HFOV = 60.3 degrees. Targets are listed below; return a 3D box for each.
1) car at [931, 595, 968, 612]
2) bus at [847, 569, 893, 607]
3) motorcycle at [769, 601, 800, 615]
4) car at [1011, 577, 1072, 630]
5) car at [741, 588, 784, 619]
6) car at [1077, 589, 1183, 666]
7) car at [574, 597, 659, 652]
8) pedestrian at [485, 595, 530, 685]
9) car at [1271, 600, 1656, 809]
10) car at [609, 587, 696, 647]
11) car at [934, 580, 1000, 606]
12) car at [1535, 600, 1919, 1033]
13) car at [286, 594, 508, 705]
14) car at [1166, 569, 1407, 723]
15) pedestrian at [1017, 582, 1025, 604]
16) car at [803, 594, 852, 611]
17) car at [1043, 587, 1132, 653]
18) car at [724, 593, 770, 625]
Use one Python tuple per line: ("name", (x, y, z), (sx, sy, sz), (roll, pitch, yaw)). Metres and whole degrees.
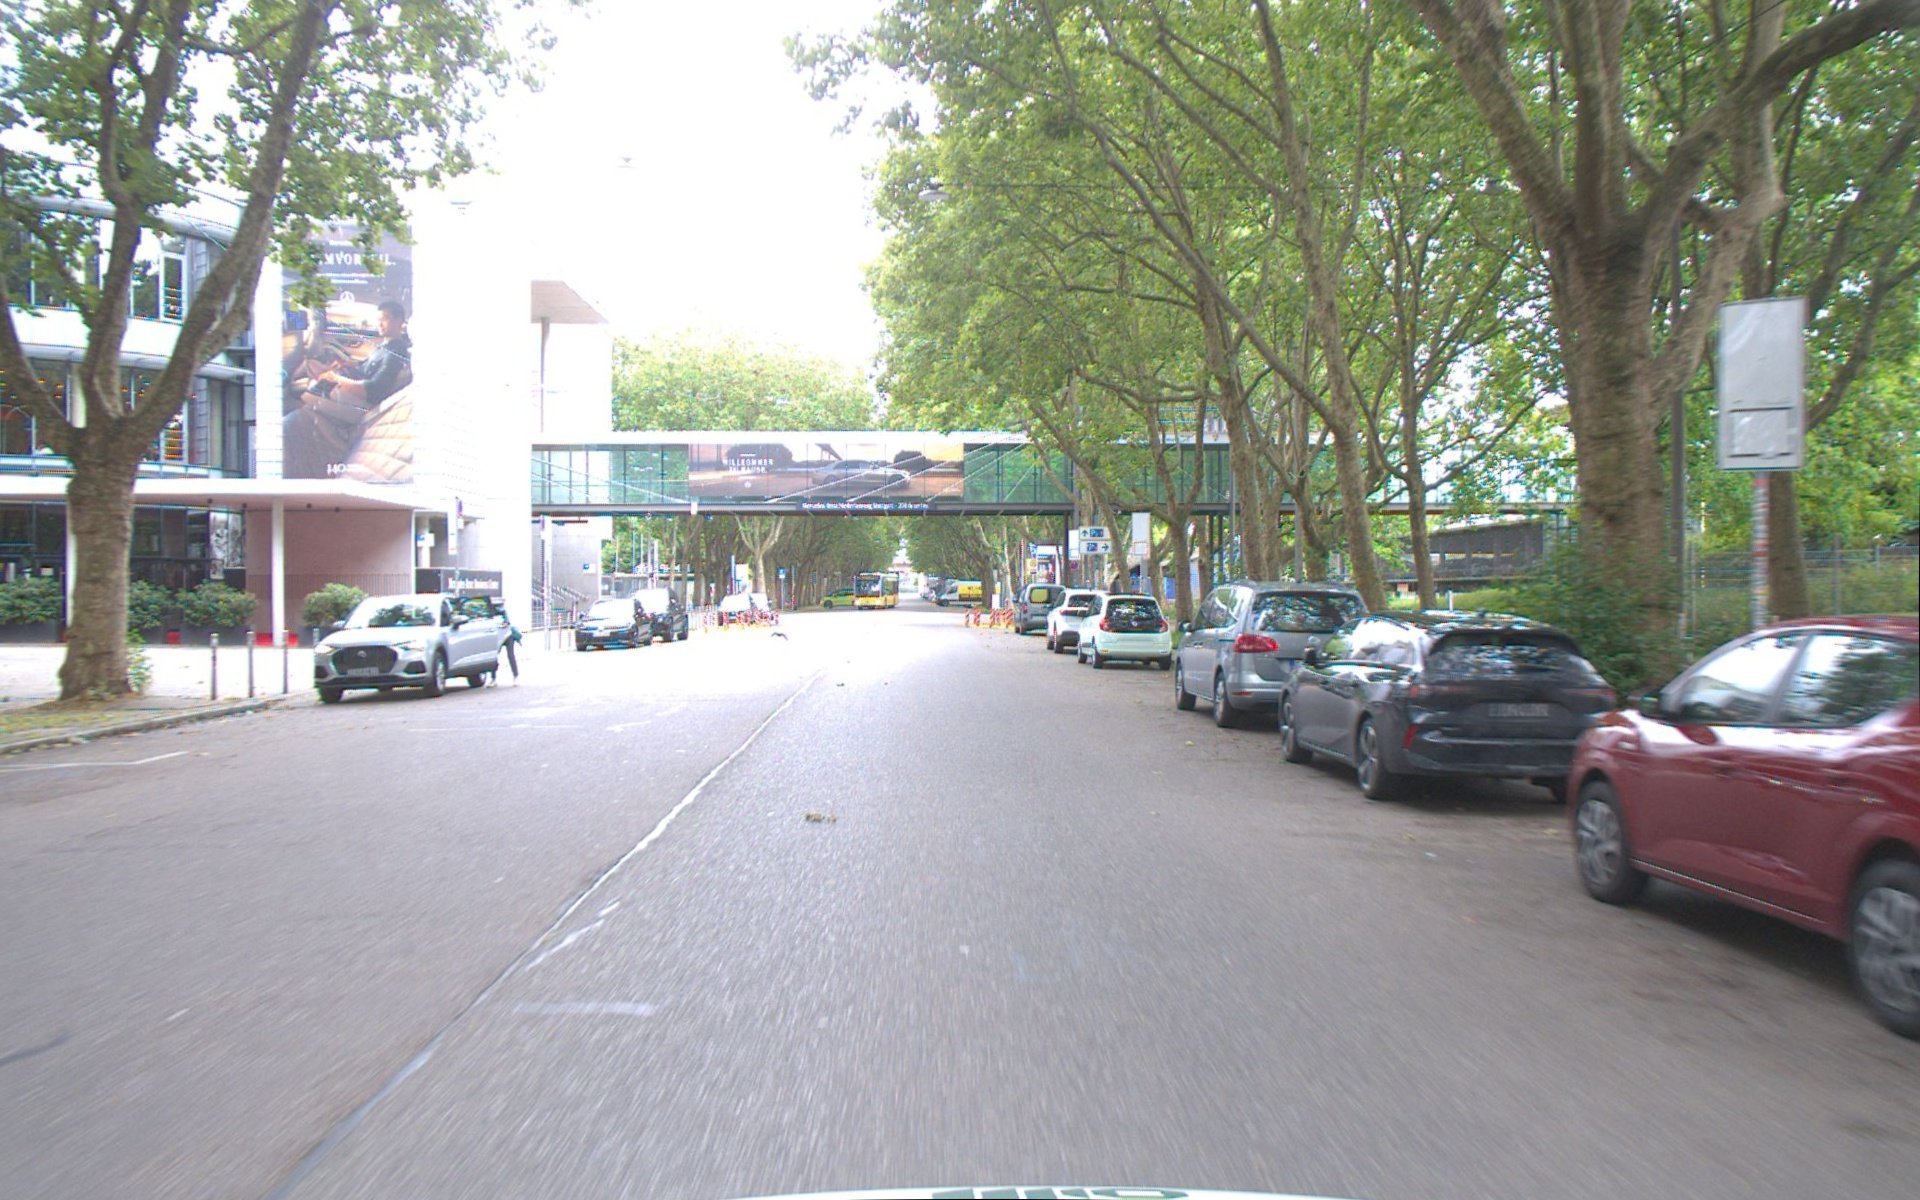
("car", (-1.129, 0.384, 177.478), (3.907, 1.825, 1.542), (0, 0, -3))
("bus", (-7.975, -1.035, 148.819), (2.976, 3.215, 12.679), (-2, 0, 2))
("motorcycle", (-15.003, 0.705, 141.136), (2.559, 1.143, 0.698), (0, 0, -26))
("car", (2.906, 0.116, 59.998), (1.810, 1.814, 5.209), (1, 0, -2))
("car", (-11.112, 0.163, 93.264), (1.953, 1.612, 4.112), (-3, 0, -1))
("car", (3.595, 0.548, 35.593), (1.771, 1.553, 4.094), (0, 0, -1))
("car", (-10.224, 0.704, 49.509), (1.670, 1.444, 4.323), (-3, 1, -1))
("pedestrian", (-7.607, 0.668, 27.846), (0.571, 1.492, 0.567), (1, 0, 2))
("car", (4.007, 0.746, 14.016), (1.839, 1.452, 4.479), (0, 0, -1))
("car", (-10.254, 0.530, 55.466), (1.993, 1.820, 4.907), (-3, 1, -1))
("car", (0.722, -0.727, 170.086), (6.688, 2.557, 2.315), (0, 0, -4))
("car", (4.243, 0.765, 7.349), (1.819, 1.507, 4.176), (0, 0, -2))
("car", (-8.914, 0.711, 26.642), (2.031, 1.590, 4.755), (0, 0, -1))
("car", (3.957, 0.514, 20.916), (1.942, 1.709, 4.729), (0, 0, -2))
("pedestrian", (5.277, -0.594, 143.456), (0.562, 1.921, 0.615), (0, 0, -10))
("car", (-12.799, 0.252, 159.609), (4.604, 1.612, 1.864), (0, 0, -1))
("car", (3.279, 0.495, 43.451), (1.875, 1.646, 4.747), (0, 0, -1))
("car", (-10.820, 0.436, 84.207), (1.821, 1.478, 4.447), (-3, 0, -1))
